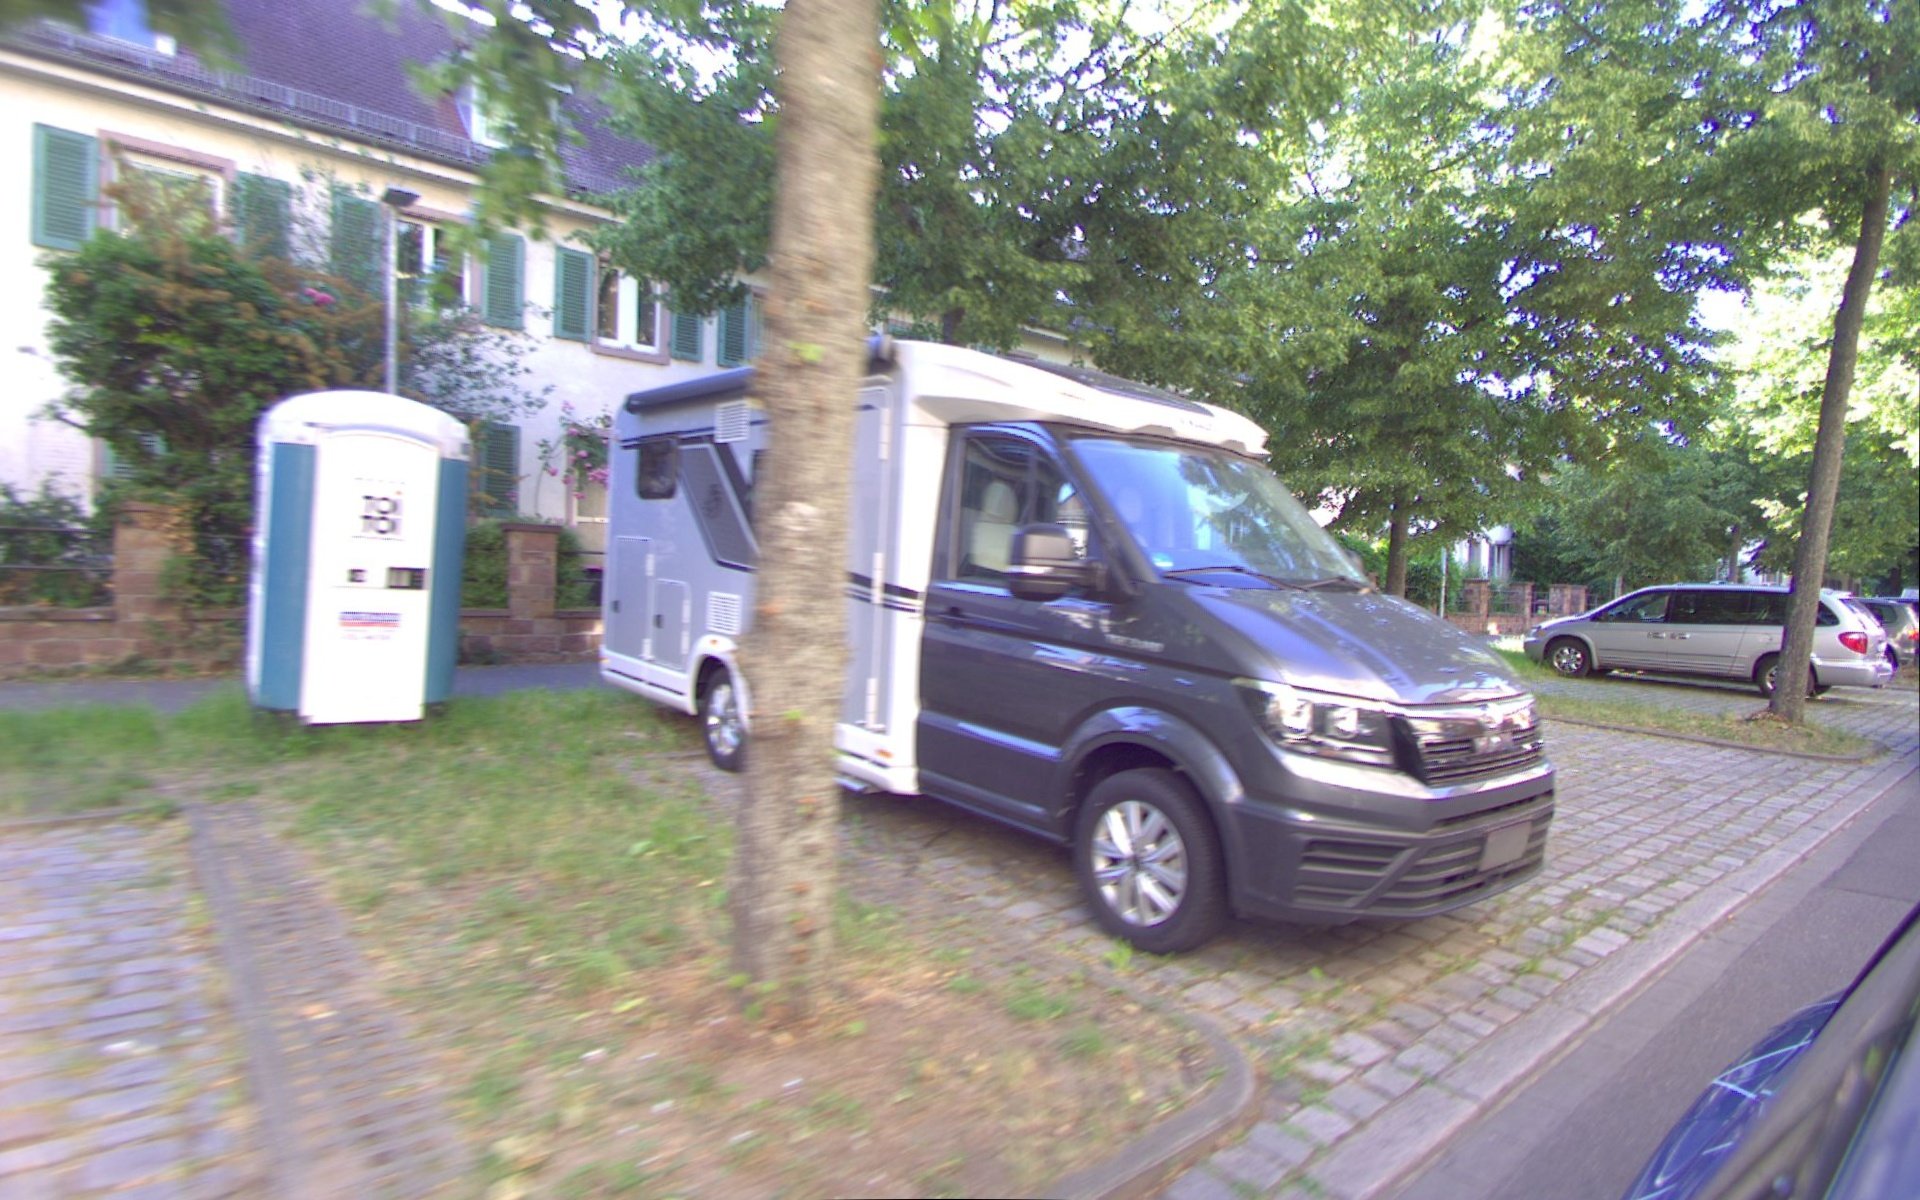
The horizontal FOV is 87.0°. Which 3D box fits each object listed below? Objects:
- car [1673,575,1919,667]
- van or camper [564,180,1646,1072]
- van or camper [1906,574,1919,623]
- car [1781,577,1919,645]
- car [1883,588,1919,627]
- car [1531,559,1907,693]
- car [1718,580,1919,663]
[{"bbox_3d":[19.791,0.417,23.863,4.543,1.653,1.783,7,5,44],"label":"car"},{"bbox_3d":[-0.190,-0.214,6.598,2.419,2.678,7.171,1,5,-38],"label":"van or camper"},{"bbox_3d":[52.144,0.164,51.312,2.124,2.546,5.734,1,5,-41],"label":"van or camper"},{"bbox_3d":[27.840,0.368,30.353,1.872,1.697,4.597,1,5,-38],"label":"car"},{"bbox_3d":[42.206,0.502,42.487,1.862,1.557,4.848,1,5,-42],"label":"car"},{"bbox_3d":[12.400,0.310,16.848,1.800,1.730,4.633,1,4,-39],"label":"car"},{"bbox_3d":[22.159,0.505,25.700,1.659,1.653,4.288,1,5,-37],"label":"car"}]
